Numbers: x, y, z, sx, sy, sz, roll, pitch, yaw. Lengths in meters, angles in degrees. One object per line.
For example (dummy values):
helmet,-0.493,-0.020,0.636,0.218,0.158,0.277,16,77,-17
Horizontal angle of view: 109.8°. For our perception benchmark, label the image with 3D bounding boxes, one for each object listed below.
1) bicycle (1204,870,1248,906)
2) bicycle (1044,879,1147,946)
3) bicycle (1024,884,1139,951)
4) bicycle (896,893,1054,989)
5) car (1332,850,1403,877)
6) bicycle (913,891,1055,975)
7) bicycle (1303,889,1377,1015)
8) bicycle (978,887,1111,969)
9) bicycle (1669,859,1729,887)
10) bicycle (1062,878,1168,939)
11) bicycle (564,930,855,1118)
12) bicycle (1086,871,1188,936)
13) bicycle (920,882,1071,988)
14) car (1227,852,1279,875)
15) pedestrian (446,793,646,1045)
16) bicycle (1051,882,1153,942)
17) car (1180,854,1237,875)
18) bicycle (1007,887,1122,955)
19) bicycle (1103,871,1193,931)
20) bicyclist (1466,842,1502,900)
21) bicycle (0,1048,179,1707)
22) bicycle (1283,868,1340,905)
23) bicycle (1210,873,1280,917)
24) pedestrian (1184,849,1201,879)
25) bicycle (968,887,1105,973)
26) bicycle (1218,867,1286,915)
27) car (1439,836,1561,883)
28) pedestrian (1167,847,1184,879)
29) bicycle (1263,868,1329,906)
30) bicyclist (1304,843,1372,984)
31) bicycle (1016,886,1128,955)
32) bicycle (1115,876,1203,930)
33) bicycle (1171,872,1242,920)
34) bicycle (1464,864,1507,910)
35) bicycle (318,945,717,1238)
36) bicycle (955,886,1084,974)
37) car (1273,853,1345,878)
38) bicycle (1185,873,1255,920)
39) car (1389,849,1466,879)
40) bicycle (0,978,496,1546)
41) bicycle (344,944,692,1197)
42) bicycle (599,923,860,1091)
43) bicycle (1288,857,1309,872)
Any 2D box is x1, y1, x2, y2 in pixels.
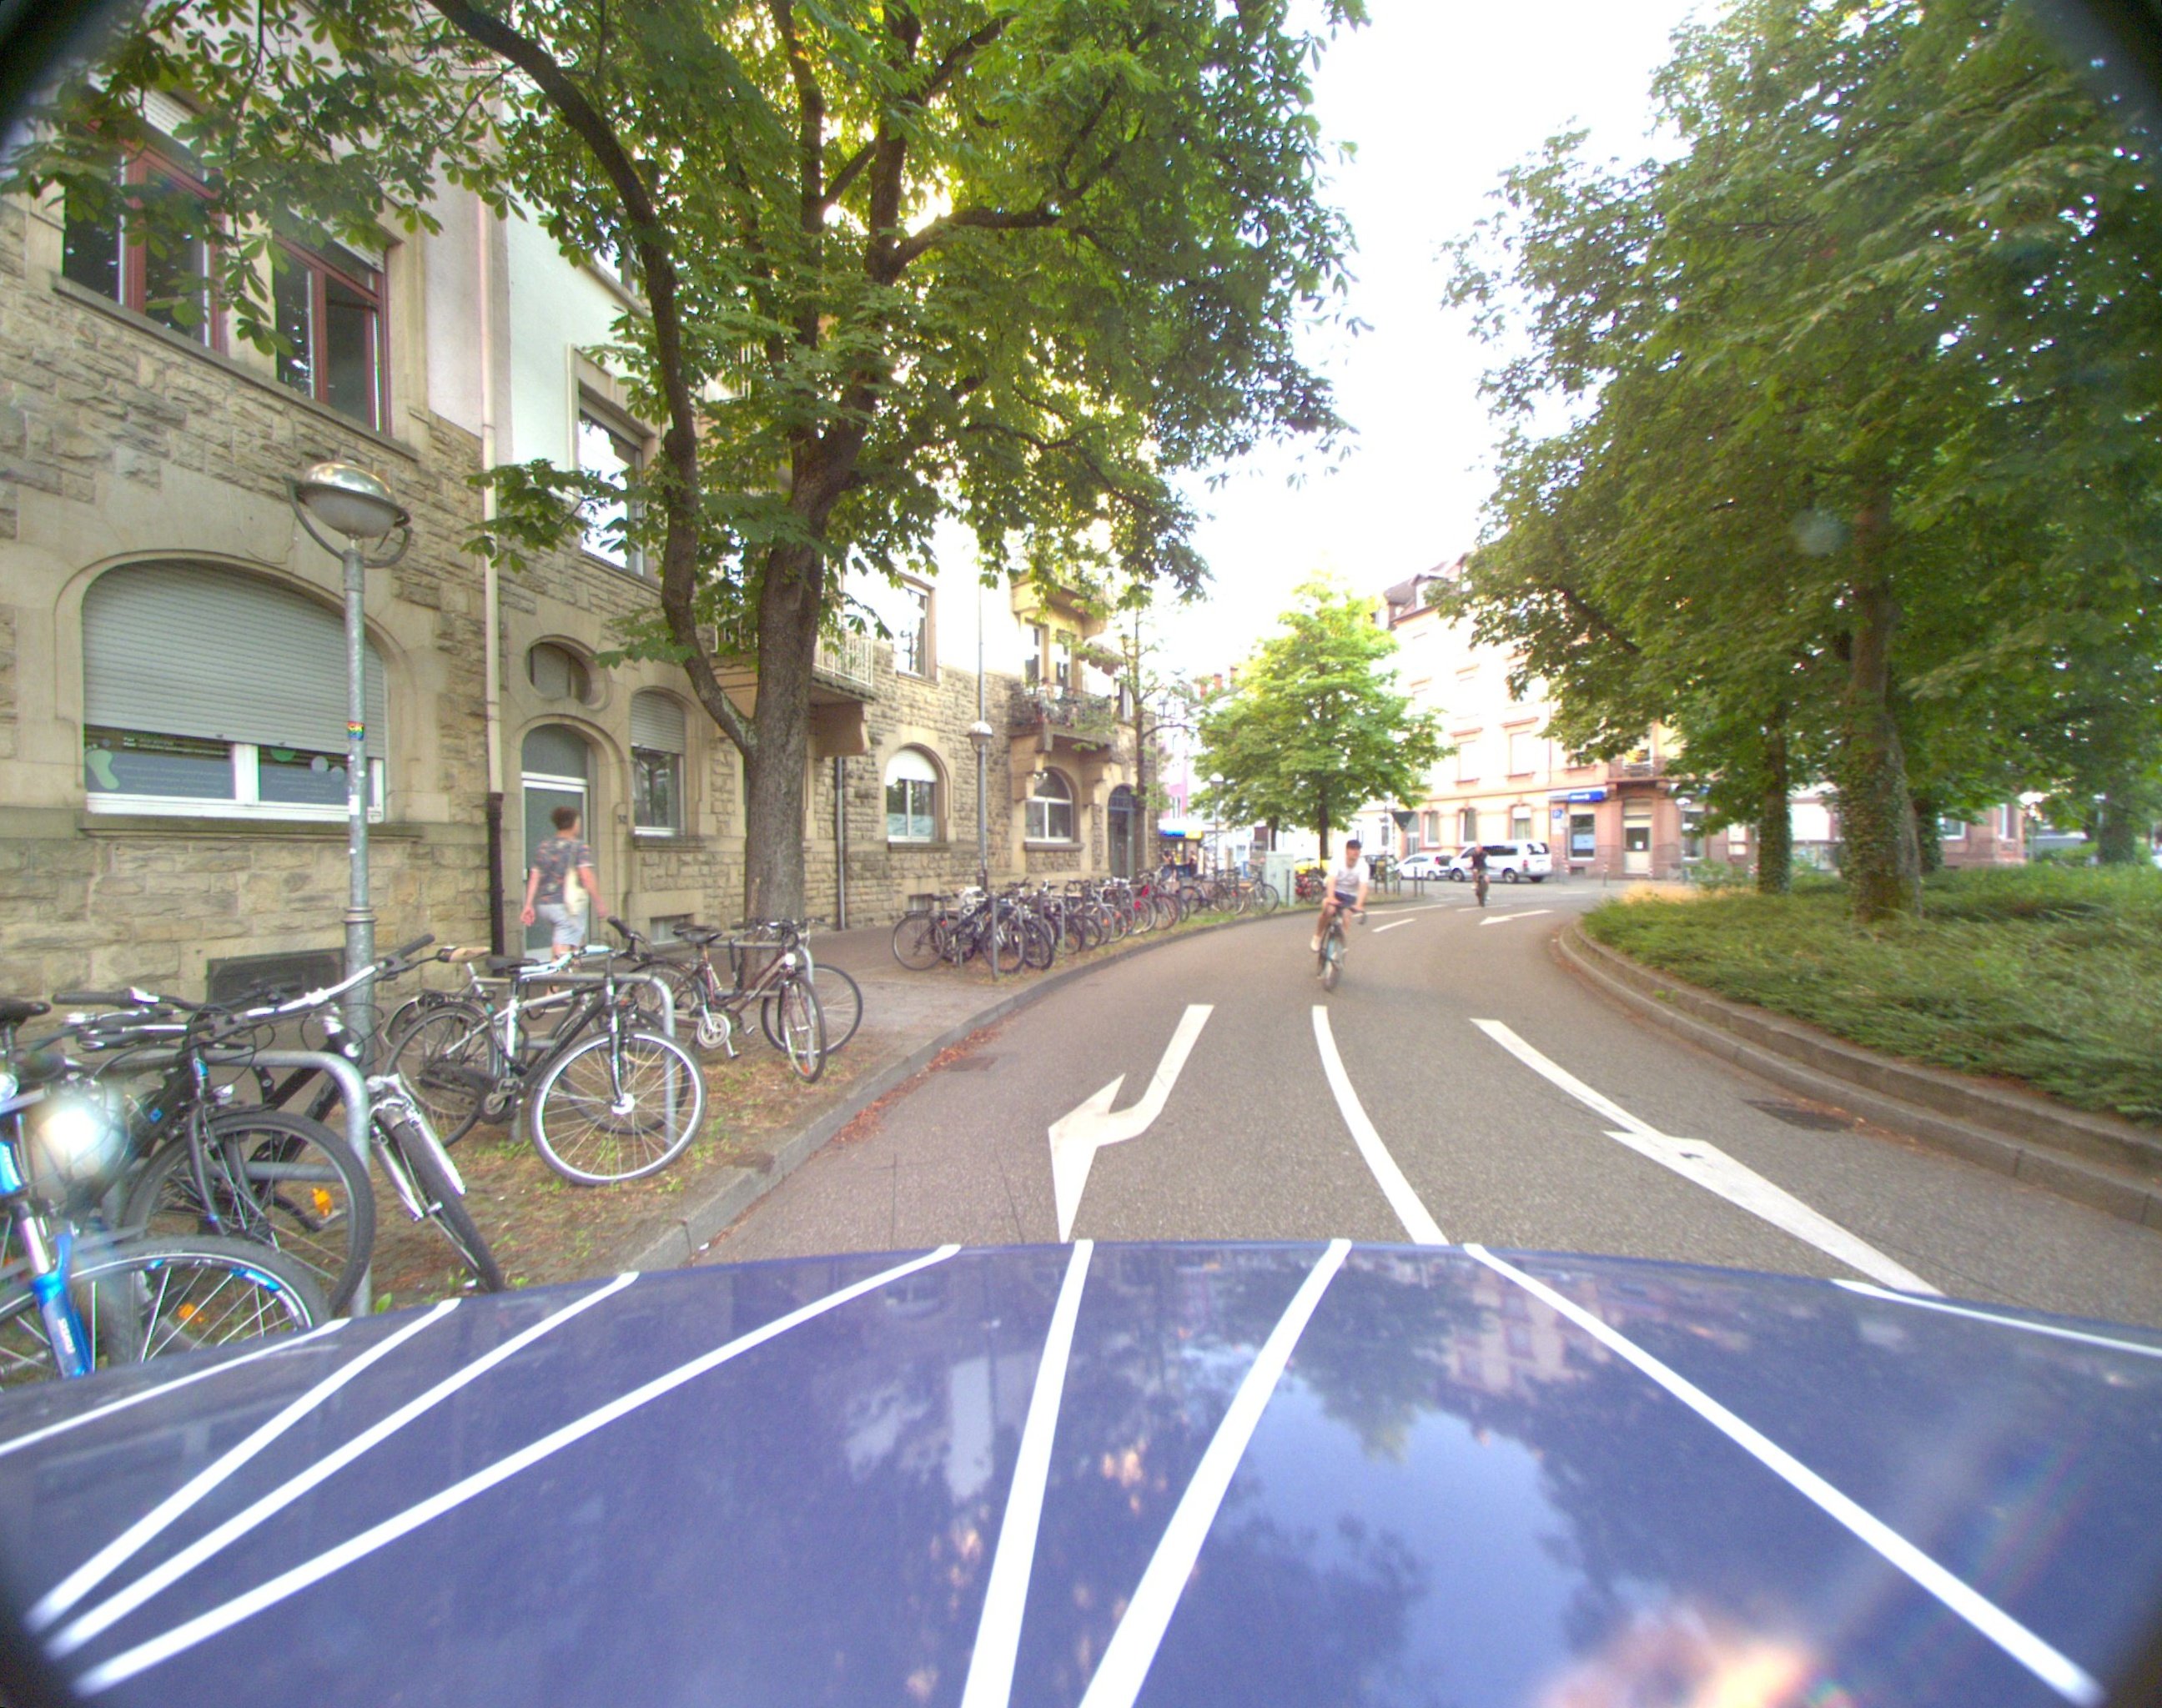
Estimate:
bicycle,4.186,0.956,21.811,0.431,0.963,1.730,0,1,41
bicycle,0.242,1.012,13.507,1.850,1.110,0.420,0,1,28
bicycle,-0.006,1.057,13.023,1.916,1.055,0.536,0,1,25
bicycle,-1.313,1.066,9.424,1.882,1.132,0.493,-2,-3,11
car,17.004,0.550,45.254,1.736,1.483,3.735,-2,1,-25
bicycle,-1.301,1.069,10.415,1.854,1.098,0.574,0,1,1
bicycle,2.889,1.014,8.568,0.685,1.144,2.118,-1,0,18
bicycle,-0.547,1.091,11.397,1.851,1.088,0.418,0,20,24
bicycle,25.079,0.754,30.870,0.561,1.077,1.793,-2,1,-34
bicycle,0.625,1.005,14.297,1.916,1.058,0.553,0,1,26
bicycle,-2.367,1.058,4.902,1.673,1.072,0.486,0,1,6
bicycle,1.081,0.938,14.888,1.916,1.193,0.553,0,1,26
bicycle,-1.115,1.014,9.814,1.880,1.211,0.492,0,7,24
car,12.697,0.681,56.263,1.807,1.583,4.138,-3,1,-20
pedestrian,-4.780,0.537,6.868,1.012,2.073,1.061,1,0,10
bicycle,0.360,1.030,13.813,1.850,1.008,0.420,0,1,28
car,9.380,0.733,56.257,2.002,1.508,4.832,0,0,-21
bicycle,-0.277,1.060,12.292,1.851,0.994,0.419,0,1,24
bicycle,1.357,0.940,15.573,1.792,1.161,0.448,0,1,28
bicyclist,10.879,0.450,20.527,0.685,1.503,0.974,-1,0,18
bicycle,-2.946,1.015,1.455,1.889,1.156,0.641,0,1,8
bicycle,6.648,0.922,21.985,0.433,1.033,1.603,-1,1,-42
bicycle,4.048,0.986,18.812,1.603,1.014,0.556,0,1,36
pedestrian,5.746,0.516,38.999,0.589,1.530,0.680,0,1,39
bicycle,-0.651,1.090,11.140,1.851,1.126,0.418,0,20,24
bicycle,4.306,0.912,19.172,1.603,1.141,0.556,0,1,36
car,20.101,0.259,36.710,2.049,2.045,4.996,-2,1,-20
pedestrian,4.835,0.436,38.844,0.589,1.627,0.680,0,1,39
bicycle,6.189,0.934,21.937,0.433,1.033,1.894,-1,1,-42
bicyclist,2.918,0.640,8.651,0.685,1.503,0.974,-1,0,18
bicycle,-0.163,1.067,12.560,1.851,1.045,0.419,0,1,24
bicycle,1.613,0.995,15.897,1.792,1.057,0.448,0,1,28
bicycle,2.962,0.975,17.996,1.603,1.069,0.420,0,1,32
bicycle,10.850,0.856,20.440,0.685,1.144,2.118,-1,0,18
bicycle,-2.626,1.019,3.566,1.672,1.120,0.487,0,-6,15
bicycle,-0.892,1.049,10.805,1.851,1.138,0.419,0,1,24
car,14.990,0.751,50.246,1.846,1.517,4.792,-3,1,-23
bicycle,3.322,0.996,18.220,1.603,1.057,0.420,0,1,32
car,18.778,0.529,41.344,1.691,1.483,3.607,-2,1,-22
bicycle,-2.868,1.013,2.214,1.889,1.156,0.705,0,1,8
bicycle,-2.912,1.051,3.943,1.672,1.072,0.487,0,1,14
bicycle,-2.489,1.060,5.435,1.673,1.072,0.486,0,1,6
bicycle,16.198,0.764,56.608,0.481,1.133,1.860,0,0,-20
